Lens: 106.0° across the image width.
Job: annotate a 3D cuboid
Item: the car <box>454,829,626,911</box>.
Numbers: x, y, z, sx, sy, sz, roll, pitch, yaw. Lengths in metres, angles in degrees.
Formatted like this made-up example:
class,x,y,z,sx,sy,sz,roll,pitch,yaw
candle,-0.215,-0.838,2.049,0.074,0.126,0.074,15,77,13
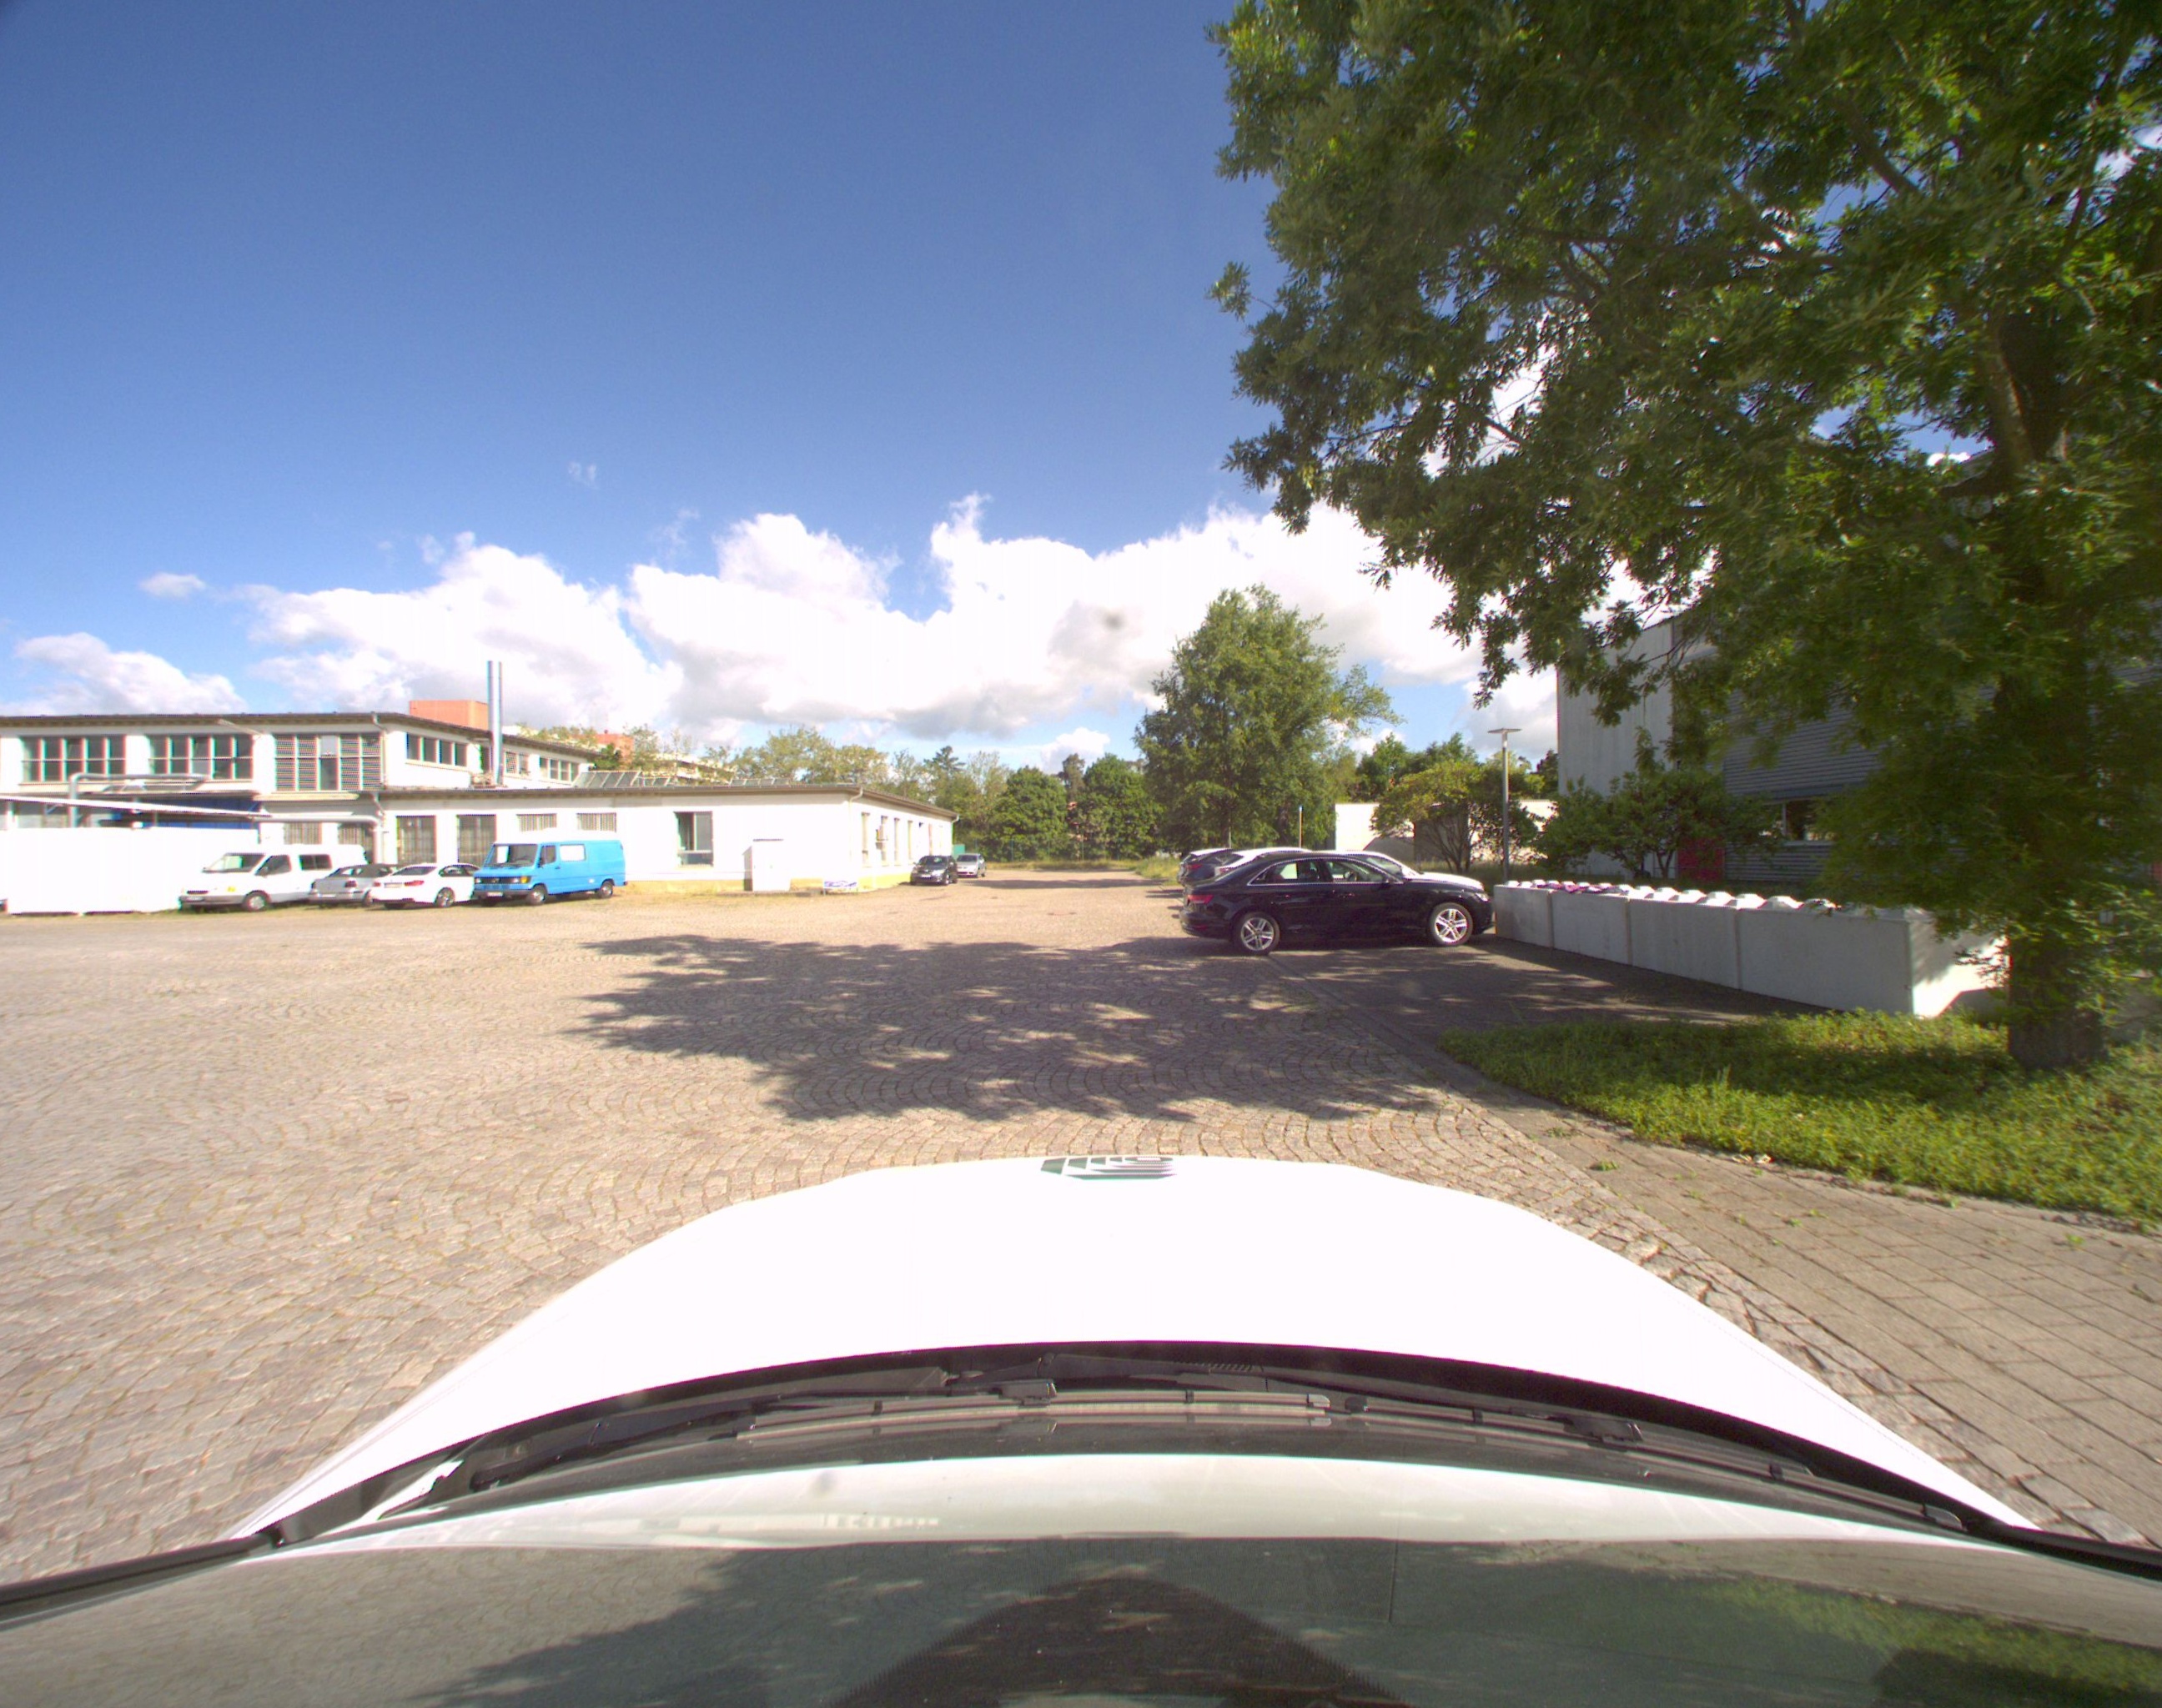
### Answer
class,x,y,z,sx,sy,sz,roll,pitch,yaw
car,-18.182,0.504,27.771,2.073,2.483,5.245,-1,0,4

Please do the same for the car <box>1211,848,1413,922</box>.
class,x,y,z,sx,sy,sz,roll,pitch,yaw
car,4.908,0.638,17.731,3.898,1.372,1.729,-3,0,1

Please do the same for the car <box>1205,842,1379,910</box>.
class,x,y,z,sx,sy,sz,roll,pitch,yaw
car,5.199,0.532,20.410,3.898,1.446,1.756,-3,0,1

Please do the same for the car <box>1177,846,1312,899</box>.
class,x,y,z,sx,sy,sz,roll,pitch,yaw
car,5.046,0.560,25.483,3.898,1.417,1.693,-3,0,1

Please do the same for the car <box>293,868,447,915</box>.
class,x,y,z,sx,sy,sz,roll,pitch,yaw
car,-23.825,1.224,27.499,1.679,1.398,3.835,-1,0,4

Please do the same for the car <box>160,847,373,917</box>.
class,x,y,z,sx,sy,sz,roll,pitch,yaw
car,-26.708,0.851,27.016,1.994,2.081,4.810,-1,0,4

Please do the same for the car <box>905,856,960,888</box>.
class,x,y,z,sx,sy,sz,roll,pitch,yaw
car,-7.101,0.825,39.299,1.757,1.435,3.994,0,0,2

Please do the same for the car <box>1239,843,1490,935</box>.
class,x,y,z,sx,sy,sz,roll,pitch,yaw
car,5.156,0.625,15.269,4.117,1.460,1.694,-3,0,6

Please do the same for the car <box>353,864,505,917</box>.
class,x,y,z,sx,sy,sz,roll,pitch,yaw
car,-21.058,1.135,26.523,1.725,1.405,3.743,-2,1,4

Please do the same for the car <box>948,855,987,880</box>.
class,x,y,z,sx,sy,sz,roll,pitch,yaw
car,-6.840,0.792,49.306,1.680,1.435,3.988,0,0,2

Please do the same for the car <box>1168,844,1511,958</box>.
class,x,y,z,sx,sy,sz,roll,pitch,yaw
car,3.804,0.667,12.549,4.704,1.423,1.757,-3,0,-1

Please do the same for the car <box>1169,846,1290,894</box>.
class,x,y,z,sx,sy,sz,roll,pitch,yaw
car,5.089,0.539,28.284,3.898,1.435,1.796,-3,0,1
